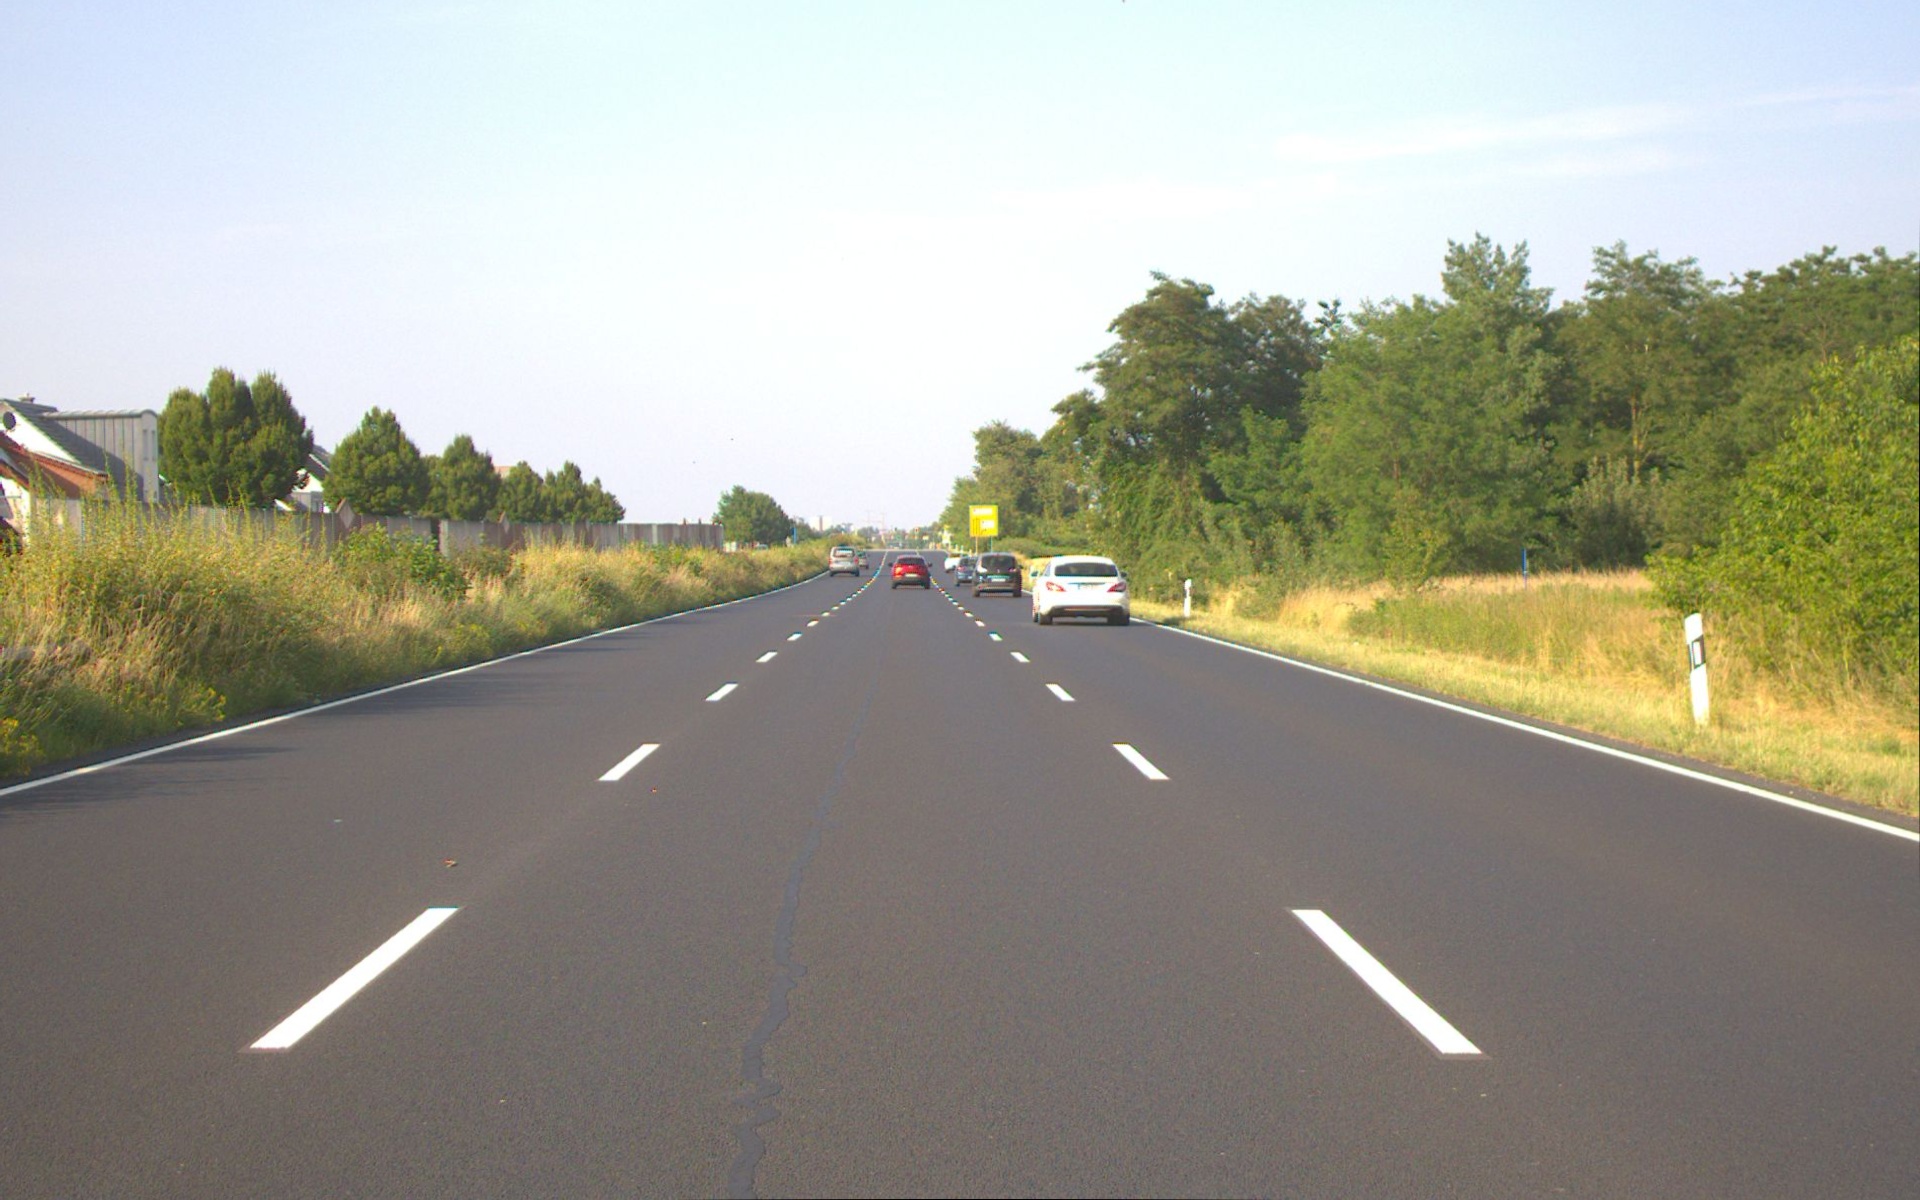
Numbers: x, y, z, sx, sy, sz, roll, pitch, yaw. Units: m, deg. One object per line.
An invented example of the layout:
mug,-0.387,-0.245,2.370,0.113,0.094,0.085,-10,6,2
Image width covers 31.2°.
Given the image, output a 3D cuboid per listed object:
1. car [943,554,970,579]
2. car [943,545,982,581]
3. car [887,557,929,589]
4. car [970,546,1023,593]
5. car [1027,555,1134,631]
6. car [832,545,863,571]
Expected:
car,-0.227,-2.326,238.326,1.847,1.744,4.000,1,0,0
car,0.119,-1.826,169.734,1.834,1.711,3.862,1,0,-1
car,-2.389,-1.233,157.062,1.812,1.431,3.859,1,0,-2
car,1.350,-1.122,128.118,1.828,1.722,4.000,1,0,-1
car,2.476,-0.148,71.581,1.993,1.511,4.000,1,0,-1
car,-7.138,-2.693,218.681,1.758,1.612,4.000,1,0,1
